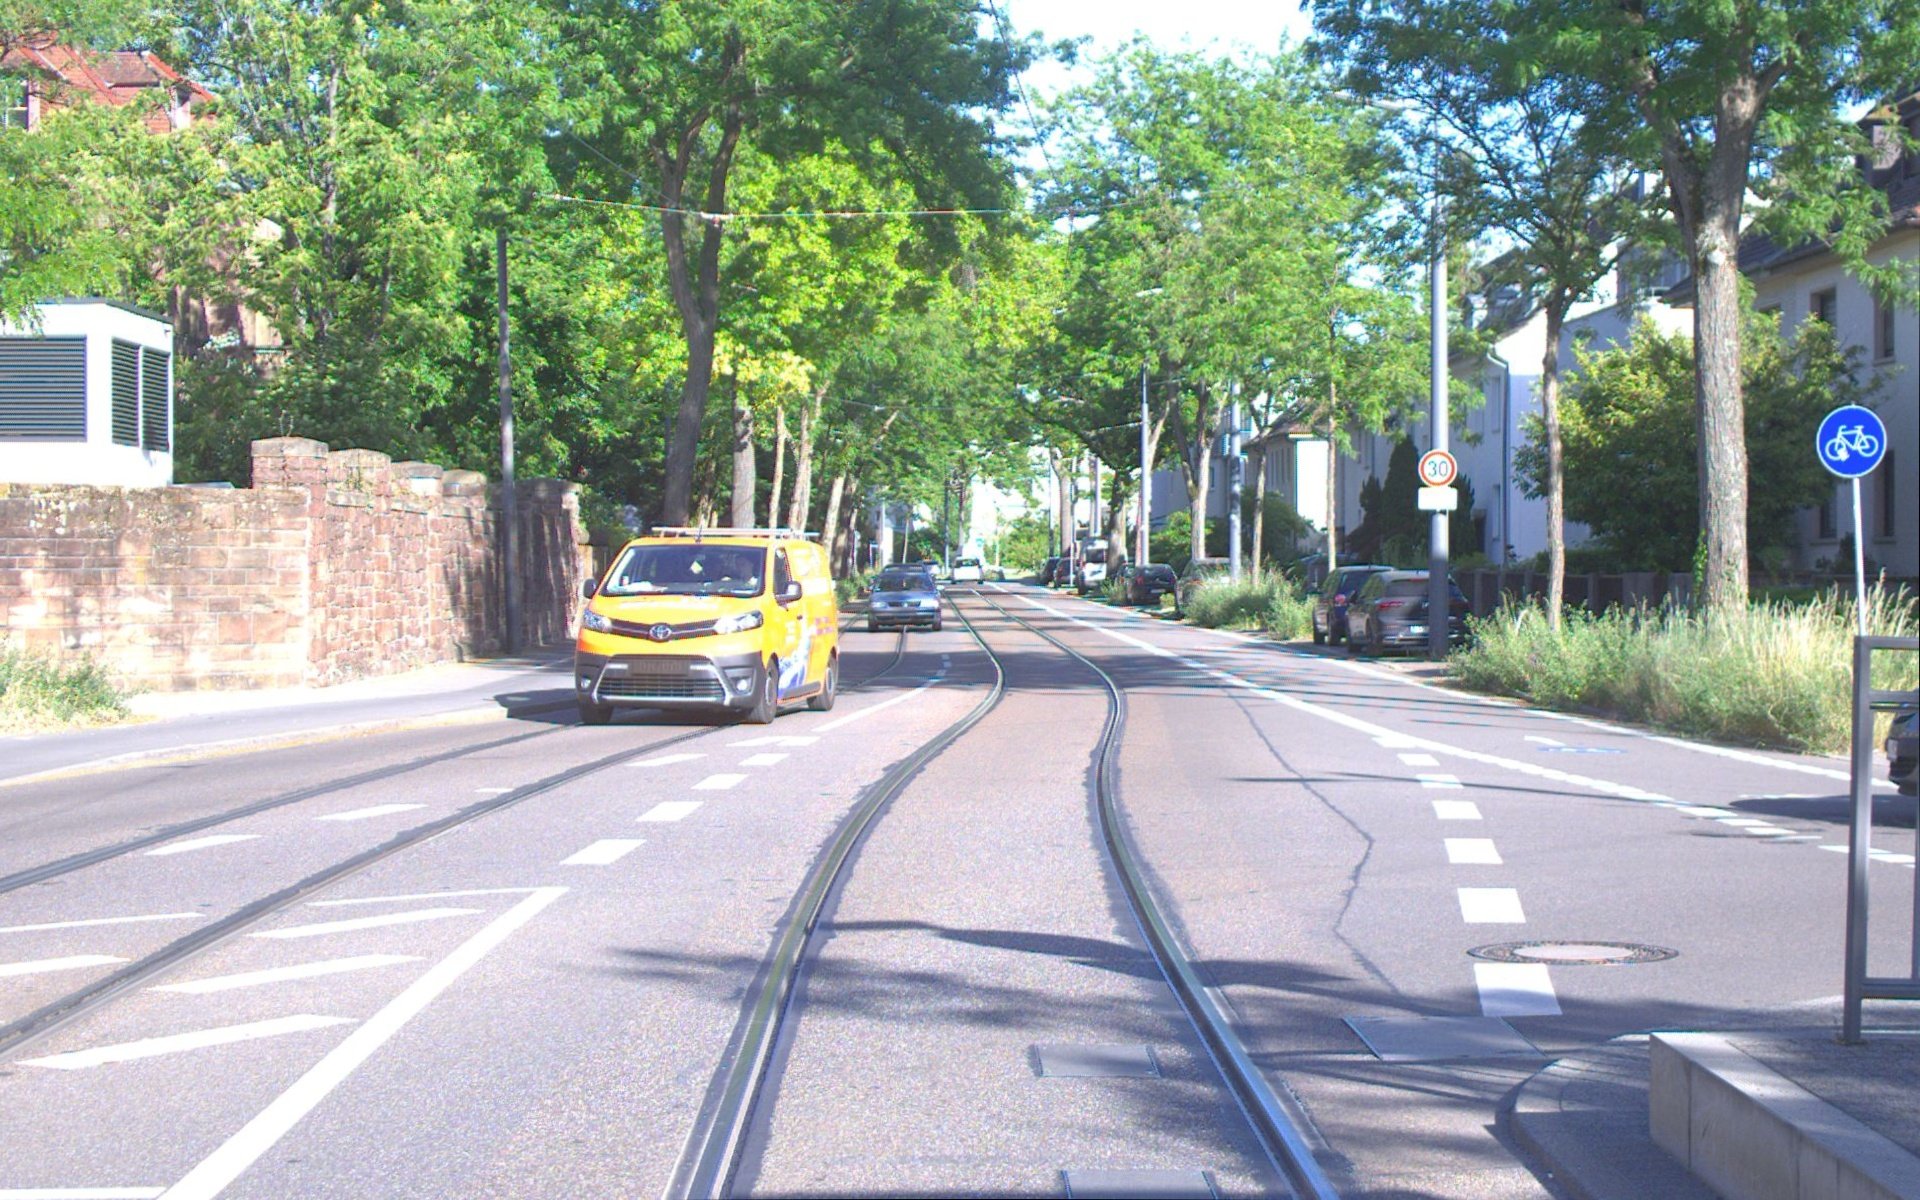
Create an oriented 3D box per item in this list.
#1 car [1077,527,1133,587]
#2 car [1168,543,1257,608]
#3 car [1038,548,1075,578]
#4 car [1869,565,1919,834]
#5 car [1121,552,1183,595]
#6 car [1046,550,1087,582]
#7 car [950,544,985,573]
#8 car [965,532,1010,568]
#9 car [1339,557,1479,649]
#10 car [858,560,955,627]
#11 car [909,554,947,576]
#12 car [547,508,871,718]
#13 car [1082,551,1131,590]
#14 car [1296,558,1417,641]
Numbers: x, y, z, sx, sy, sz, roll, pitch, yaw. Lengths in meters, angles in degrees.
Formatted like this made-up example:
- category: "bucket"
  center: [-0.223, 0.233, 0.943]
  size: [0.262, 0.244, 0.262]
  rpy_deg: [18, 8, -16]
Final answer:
- category: "car"
  center: [6.515, -1.929, 154.951]
  size: [2.245, 2.645, 5.585]
  rpy_deg: [0, 1, -1]
- category: "car"
  center: [7.122, -0.724, 97.297]
  size: [1.993, 1.698, 4.478]
  rpy_deg: [-3, 1, -1]
- category: "car"
  center: [5.771, -2.216, 204.602]
  size: [2.003, 1.669, 4.392]
  rpy_deg: [-2, 1, 3]
- category: "car"
  center: [7.418, 0.566, 19.892]
  size: [3.988, 1.503, 1.981]
  rpy_deg: [1, 1, 9]
- category: "car"
  center: [6.898, -0.970, 123.811]
  size: [1.784, 1.443, 4.301]
  rpy_deg: [-3, 1, -2]
- category: "car"
  center: [5.784, -1.846, 187.093]
  size: [2.003, 1.669, 4.392]
  rpy_deg: [-2, 1, -1]
- category: "car"
  center: [0.462, -2.434, 202.672]
  size: [1.866, 1.669, 4.173]
  rpy_deg: [-1, 1, 2]
- category: "car"
  center: [1.840, -3.387, 233.333]
  size: [1.993, 2.450, 4.510]
  rpy_deg: [-1, 1, -13]
- category: "car"
  center: [7.644, 0.023, 58.883]
  size: [1.748, 1.490, 4.443]
  rpy_deg: [-1, 1, -1]
- category: "car"
  center: [-1.238, -0.175, 81.148]
  size: [1.994, 1.519, 4.579]
  rpy_deg: [0, 1, 3]
- category: "car"
  center: [-2.408, -2.632, 258.487]
  size: [2.002, 1.555, 4.393]
  rpy_deg: [-1, 1, -13]
- category: "car"
  center: [-2.438, 0.084, 34.771]
  size: [1.994, 1.959, 4.931]
  rpy_deg: [0, 1, 12]
- category: "car"
  center: [5.676, -1.141, 133.581]
  size: [1.627, 1.393, 3.646]
  rpy_deg: [-3, 1, -1]
- category: "car"
  center: [7.435, -0.032, 64.719]
  size: [1.748, 1.490, 3.997]
  rpy_deg: [-1, 1, -1]
